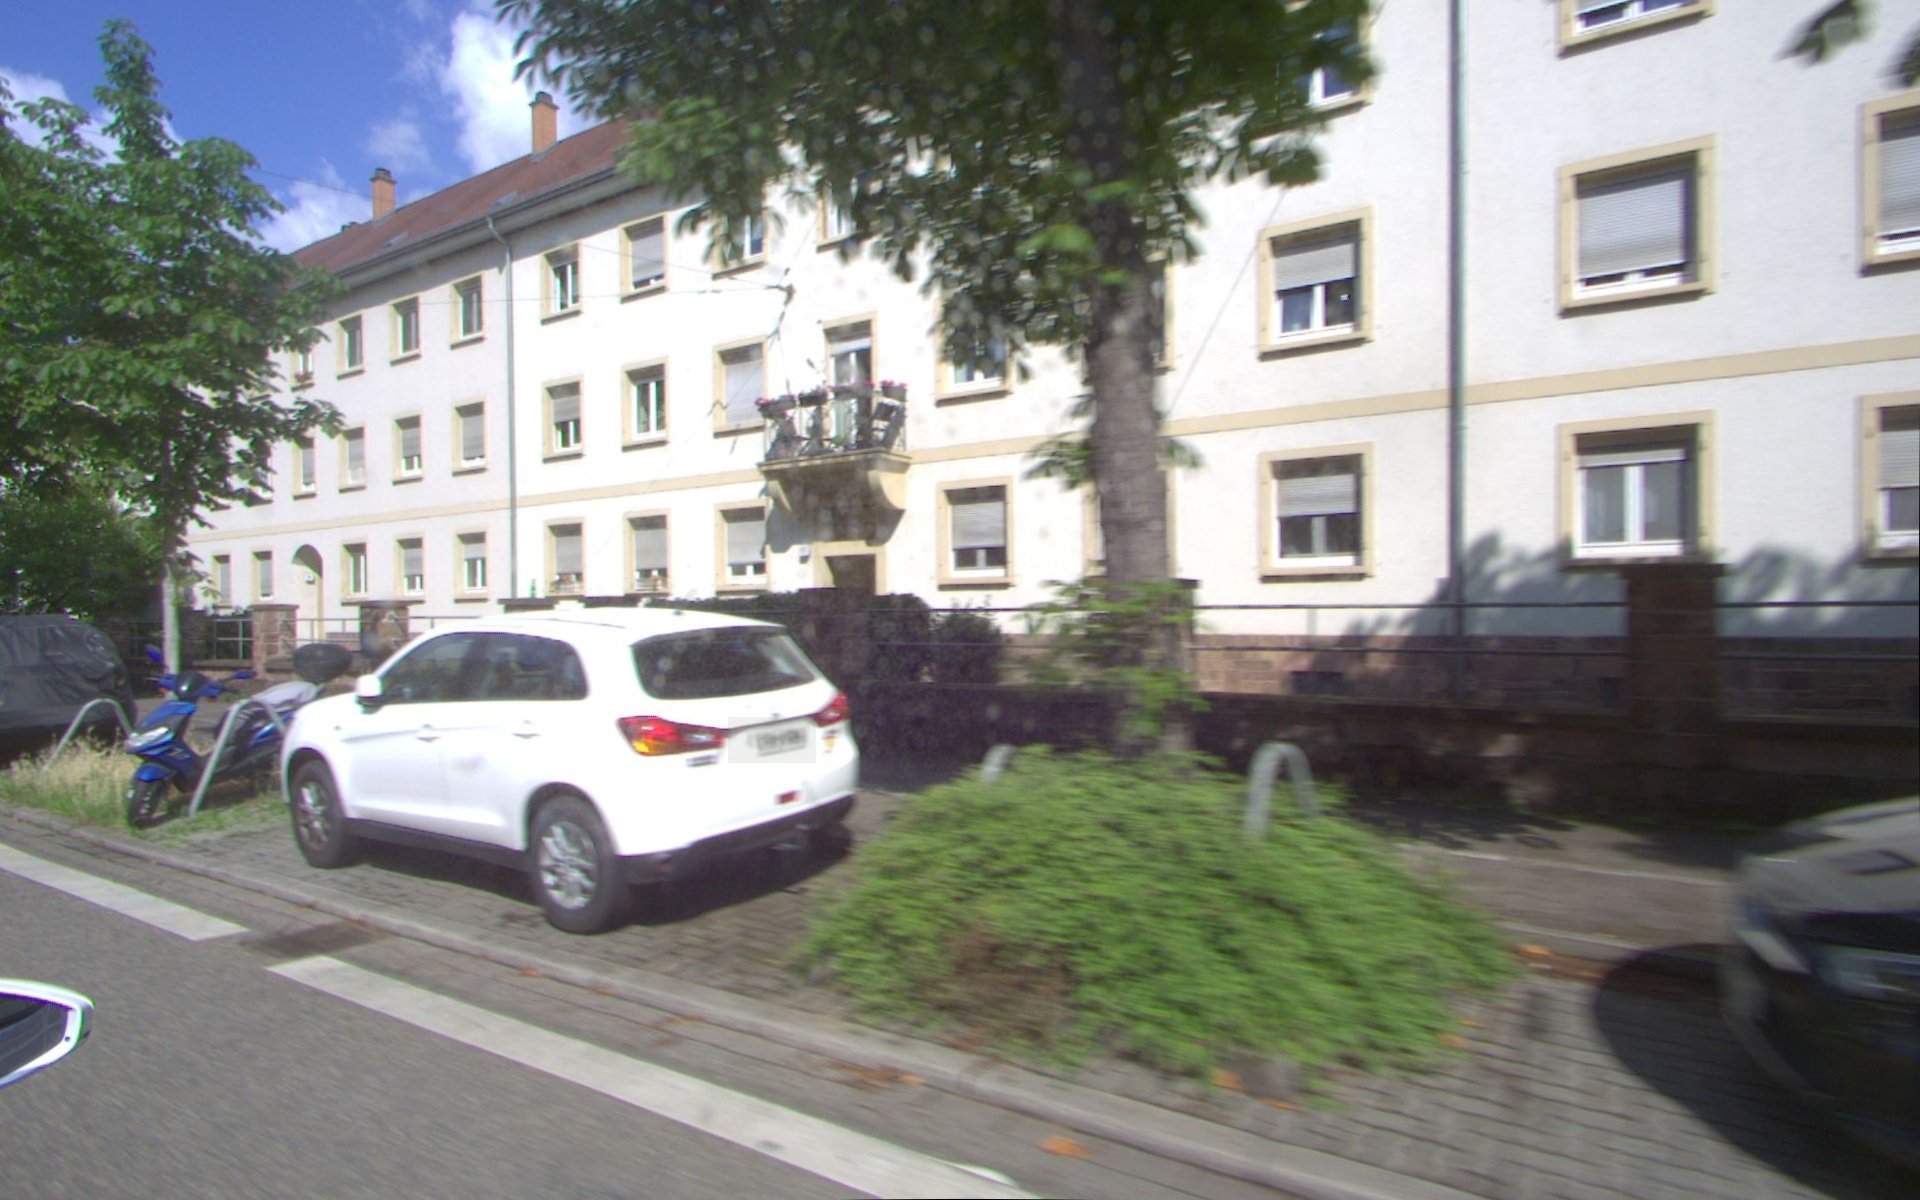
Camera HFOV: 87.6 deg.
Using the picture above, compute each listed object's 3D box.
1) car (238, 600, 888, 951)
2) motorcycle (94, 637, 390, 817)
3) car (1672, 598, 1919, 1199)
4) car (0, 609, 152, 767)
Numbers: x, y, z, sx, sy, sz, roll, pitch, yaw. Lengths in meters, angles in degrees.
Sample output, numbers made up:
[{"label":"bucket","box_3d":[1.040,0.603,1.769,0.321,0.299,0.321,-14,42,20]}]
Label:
[{"label":"car","box_3d":[-2.676,0.842,6.473,4.187,1.602,1.738,-1,1,32]},{"label":"motorcycle","box_3d":[-6.218,1.024,8.815,0.736,1.354,2.005,0,-1,28]},{"label":"car","box_3d":[4.154,0.756,2.086,4.226,1.541,1.658,-1,-1,32]},{"label":"car","box_3d":[-11.881,0.972,12.154,4.571,1.674,1.859,-1,-1,32]}]
